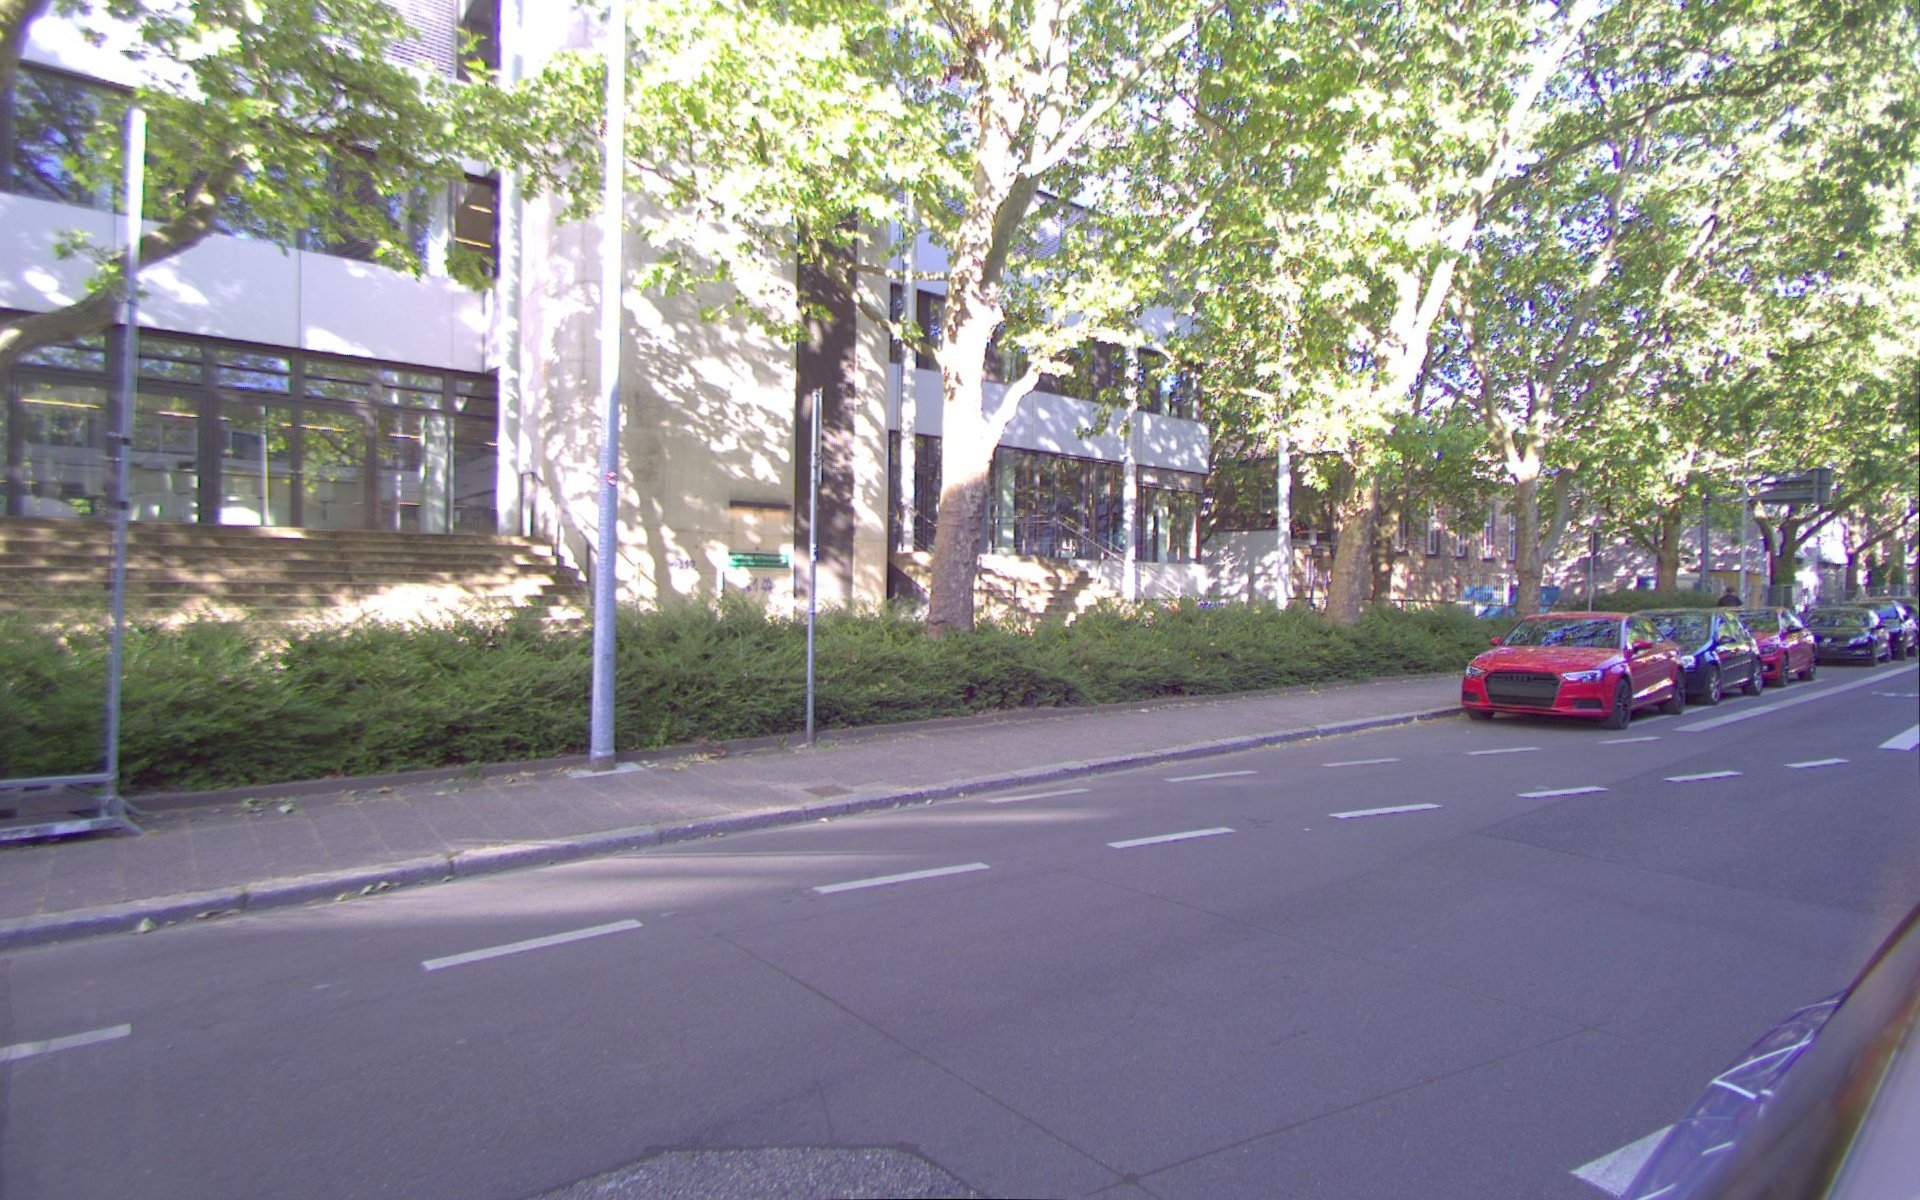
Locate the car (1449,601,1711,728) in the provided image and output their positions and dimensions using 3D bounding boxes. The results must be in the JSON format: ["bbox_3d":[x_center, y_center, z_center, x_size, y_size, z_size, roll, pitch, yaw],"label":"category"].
[{"bbox_3d":[8.402,0.736,13.570,4.173,1.422,1.834,0,0,-41],"label":"car"}]

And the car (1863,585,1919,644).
[{"bbox_3d":[31.043,0.436,32.977,4.383,1.820,1.834,0,0,-40],"label":"car"}]

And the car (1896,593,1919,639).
[{"bbox_3d":[35.907,0.577,37.103,4.183,1.634,1.834,0,0,-40],"label":"car"}]

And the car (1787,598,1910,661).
[{"bbox_3d":[22.869,0.700,25.993,4.095,1.486,1.834,0,0,-41],"label":"car"}]

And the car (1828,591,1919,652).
[{"bbox_3d":[26.558,0.570,29.087,4.088,1.626,1.834,0,0,-40],"label":"car"}]

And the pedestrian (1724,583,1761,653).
[{"bbox_3d":[21.275,0.478,27.509,0.629,1.884,0.660,0,0,-41],"label":"pedestrian"}]

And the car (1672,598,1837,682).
[{"bbox_3d":[15.837,0.708,20.102,4.095,1.486,1.834,0,0,-41],"label":"car"}]

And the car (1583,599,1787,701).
[{"bbox_3d":[12.021,0.718,16.687,4.095,1.464,1.834,0,0,-41],"label":"car"}]
